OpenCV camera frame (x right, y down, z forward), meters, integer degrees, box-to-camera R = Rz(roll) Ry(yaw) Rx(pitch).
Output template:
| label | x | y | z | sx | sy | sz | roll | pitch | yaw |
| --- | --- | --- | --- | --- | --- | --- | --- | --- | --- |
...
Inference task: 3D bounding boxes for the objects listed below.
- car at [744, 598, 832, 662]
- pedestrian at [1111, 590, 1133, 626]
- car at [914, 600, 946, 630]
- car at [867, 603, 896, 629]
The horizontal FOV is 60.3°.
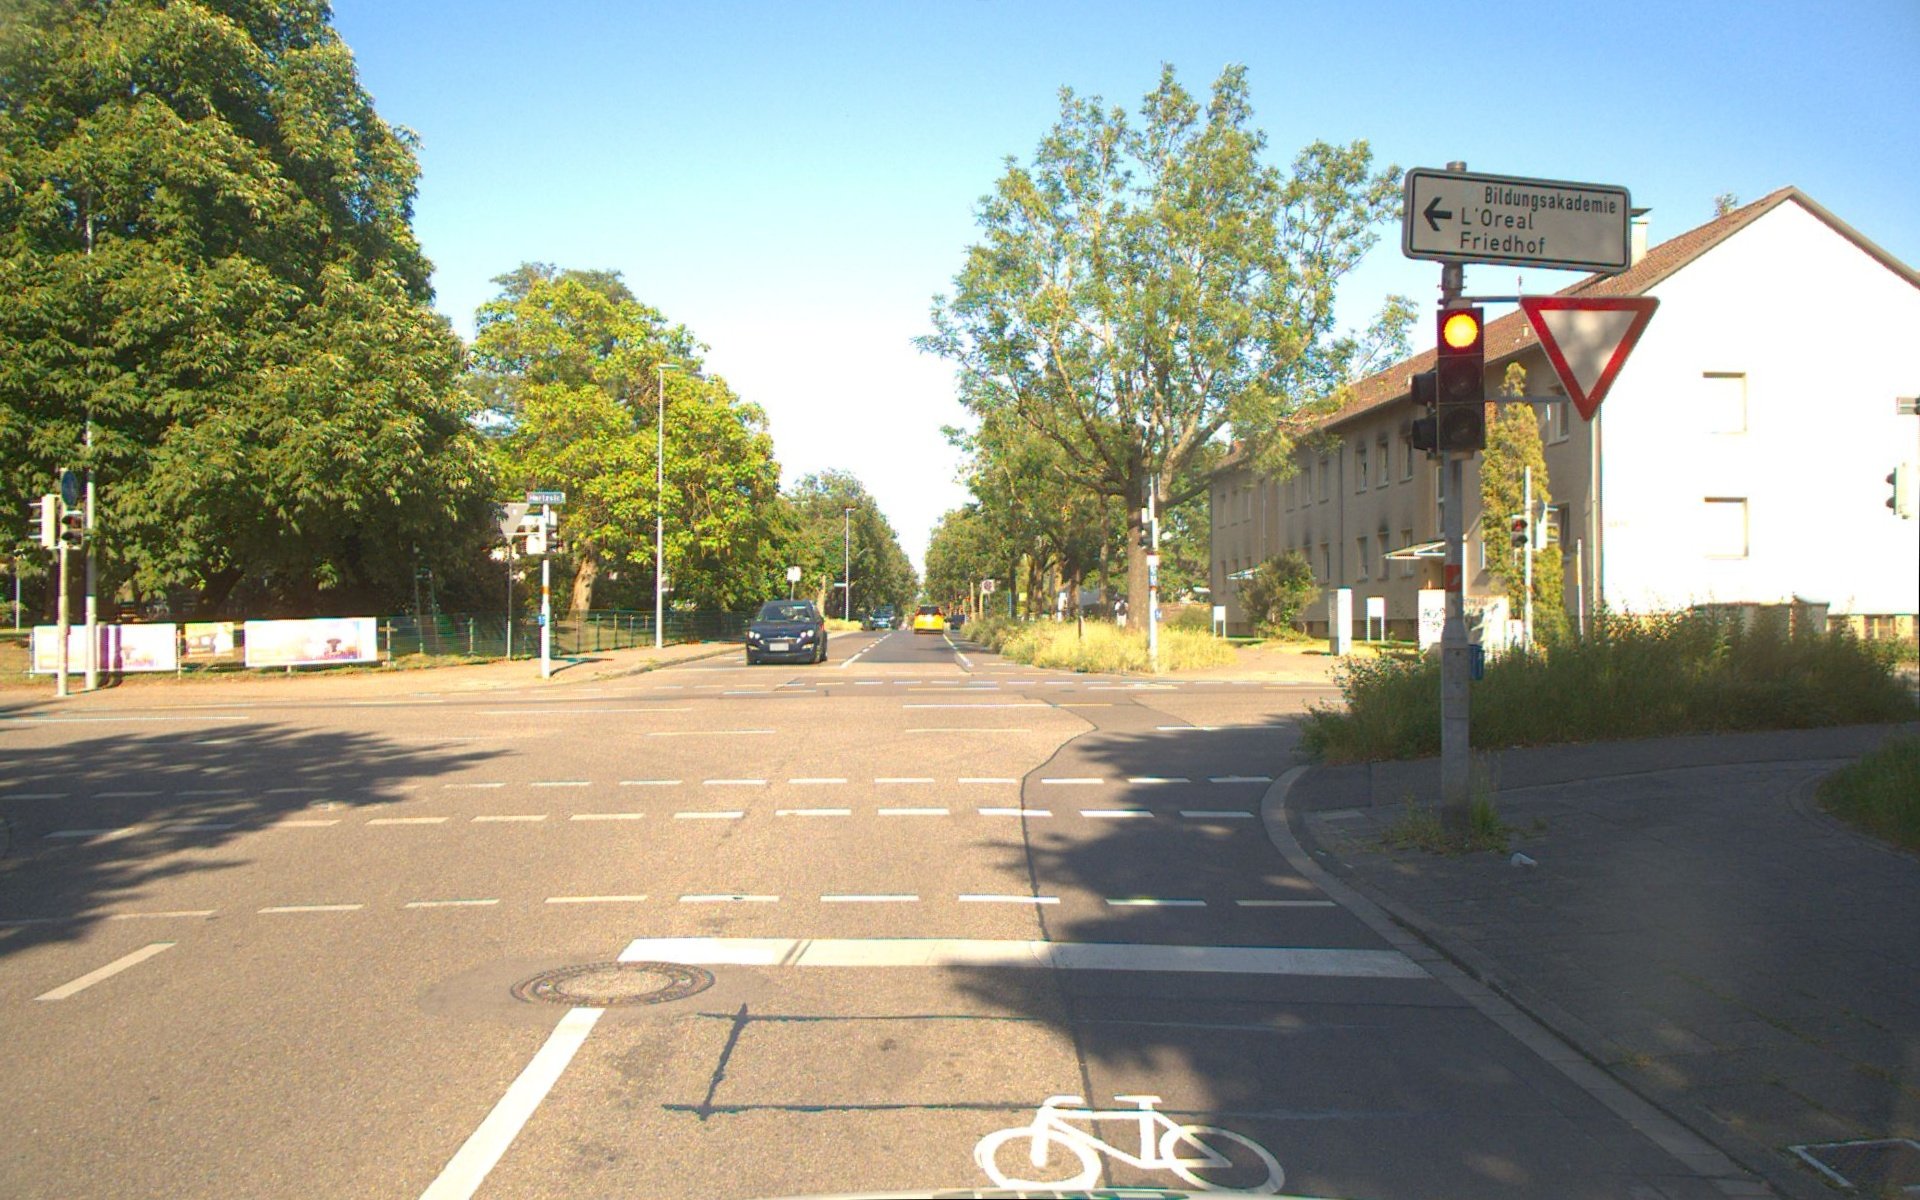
| label | x | y | z | sx | sy | sz | roll | pitch | yaw |
| --- | --- | --- | --- | --- | --- | --- | --- | --- | --- |
| car | -3.959 | 0.664 | 38.547 | 1.676 | 1.410 | 3.471 | 0 | 0 | 0 |
| pedestrian | 7.087 | 0.355 | 72.302 | 0.825 | 1.519 | 0.924 | 2 | 0 | -1 |
| car | -1.664 | 0.816 | 91.922 | 1.716 | 1.610 | 3.999 | 1 | 0 | -1 |
| car | -5.210 | 1.044 | 109.983 | 1.722 | 1.653 | 3.268 | 0 | 0 | 0 |
